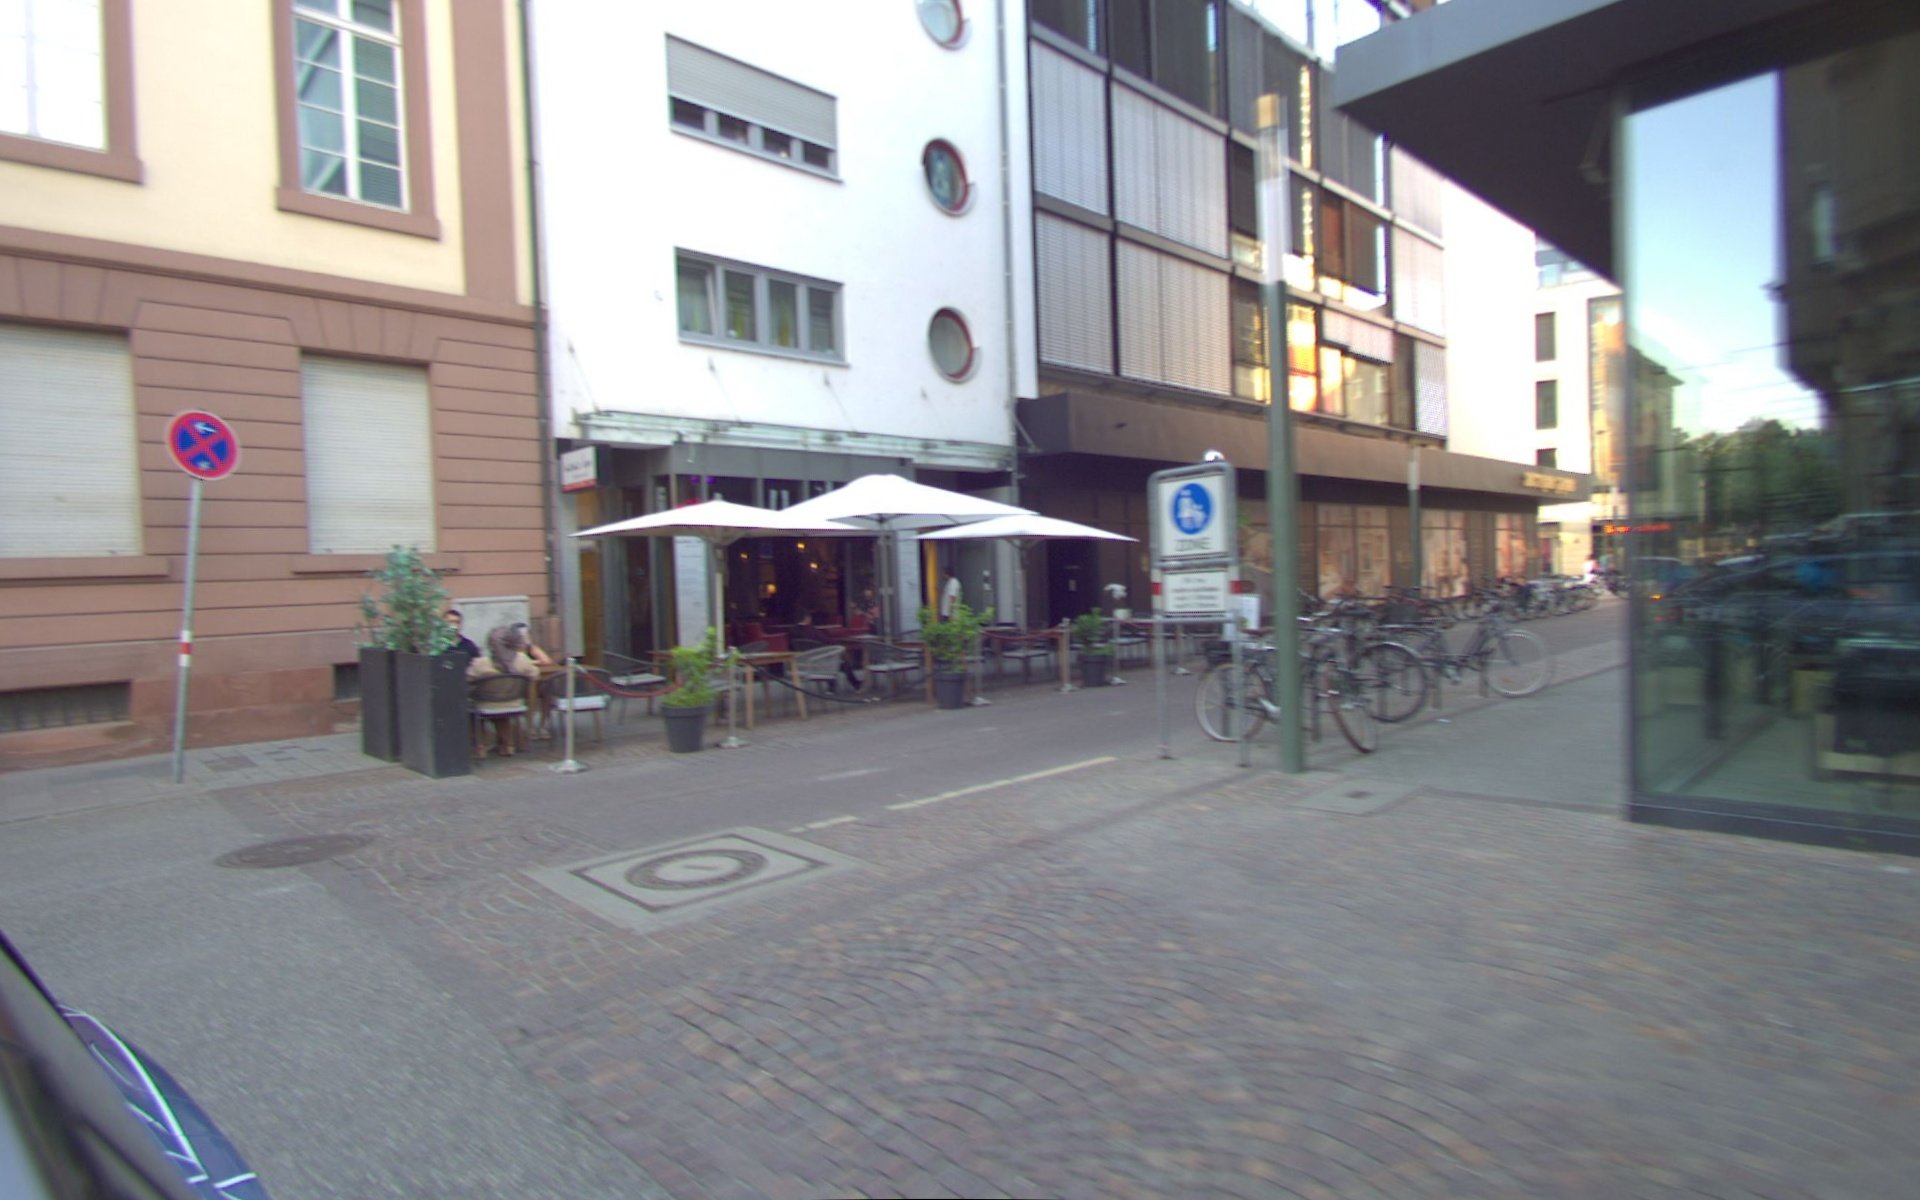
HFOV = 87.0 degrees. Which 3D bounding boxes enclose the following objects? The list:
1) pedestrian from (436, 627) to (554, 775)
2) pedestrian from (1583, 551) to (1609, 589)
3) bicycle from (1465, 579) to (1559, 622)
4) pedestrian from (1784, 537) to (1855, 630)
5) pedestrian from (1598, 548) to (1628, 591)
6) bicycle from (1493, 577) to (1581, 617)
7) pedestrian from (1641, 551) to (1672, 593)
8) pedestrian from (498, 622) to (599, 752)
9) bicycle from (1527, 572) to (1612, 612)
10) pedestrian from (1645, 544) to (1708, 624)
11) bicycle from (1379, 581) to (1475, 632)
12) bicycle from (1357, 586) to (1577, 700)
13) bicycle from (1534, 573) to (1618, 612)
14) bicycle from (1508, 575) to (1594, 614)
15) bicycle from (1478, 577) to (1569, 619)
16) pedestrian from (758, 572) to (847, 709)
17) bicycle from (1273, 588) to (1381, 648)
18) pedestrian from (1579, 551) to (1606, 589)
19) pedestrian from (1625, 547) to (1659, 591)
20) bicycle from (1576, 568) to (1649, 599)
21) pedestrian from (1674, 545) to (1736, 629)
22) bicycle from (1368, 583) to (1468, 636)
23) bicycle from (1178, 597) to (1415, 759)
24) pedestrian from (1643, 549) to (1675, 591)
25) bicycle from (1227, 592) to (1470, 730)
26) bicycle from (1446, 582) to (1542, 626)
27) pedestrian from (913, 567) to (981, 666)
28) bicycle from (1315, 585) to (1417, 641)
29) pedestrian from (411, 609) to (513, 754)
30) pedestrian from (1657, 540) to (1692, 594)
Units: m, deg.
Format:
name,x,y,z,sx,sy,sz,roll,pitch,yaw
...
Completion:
name,x,y,z,sx,sy,sz,roll,pitch,yaw
pedestrian,-4.151,0.867,9.037,0.792,1.192,0.664,0,2,41
pedestrian,31.994,-1.517,50.918,0.823,1.873,0.908,-3,1,-44
bicycle,14.051,-0.005,25.810,0.460,1.024,2.056,-3,3,-44
pedestrian,15.114,-0.289,17.799,0.846,1.577,0.801,-3,1,-41
pedestrian,29.111,-1.346,45.119,0.823,1.873,0.908,-3,1,-44
bicycle,15.784,-0.101,27.739,0.460,1.057,2.056,-3,3,-44
pedestrian,28.868,-1.165,41.921,0.907,1.673,0.782,-2,1,44
pedestrian,-4.167,0.847,10.237,0.793,1.192,0.664,1,2,45
bicycle,17.720,-0.244,29.474,0.460,1.103,2.056,-3,3,-44
pedestrian,15.477,-0.340,21.857,0.916,1.673,0.903,-3,1,-42
bicycle,10.667,0.134,23.181,0.460,1.082,1.955,-3,3,-44
bicycle,5.460,0.484,11.020,0.460,1.130,2.042,-3,-1,-44
bicycle,18.239,-0.248,30.007,0.460,1.103,2.056,-3,3,-44
bicycle,16.708,-0.169,28.660,0.460,1.057,2.056,-3,3,-44
bicycle,14.954,-0.074,26.893,0.460,1.057,2.056,-3,3,-44
pedestrian,-2.010,0.501,12.909,0.792,1.661,0.716,-2,1,41
bicycle,7.090,0.326,19.634,0.460,1.082,1.955,-3,3,-44
pedestrian,31.475,-1.490,50.345,0.823,1.873,0.908,-3,1,-44
pedestrian,30.213,-1.382,44.841,0.893,1.873,1.029,-3,1,-44
bicycle,22.203,-0.566,34.472,0.460,1.020,2.056,-3,3,-44
pedestrian,14.469,-0.251,19.658,0.846,1.577,0.801,-3,1,-43
bicycle,9.984,0.188,22.123,0.460,1.082,1.955,-3,3,-44
bicycle,2.618,0.605,8.037,0.460,1.145,1.704,-3,-1,-44
pedestrian,28.452,-1.226,41.201,0.907,1.673,0.782,-2,1,44
bicycle,3.503,0.555,9.303,0.460,1.130,2.017,-3,-1,-44
bicycle,13.129,0.082,24.929,0.460,1.024,2.056,-3,3,-44
pedestrian,-0.222,0.277,17.703,0.855,1.671,0.792,-2,1,30
bicycle,8.445,0.244,21.121,0.460,1.082,1.955,-3,3,-44
pedestrian,-4.997,0.786,10.148,0.793,1.341,0.664,1,2,45
pedestrian,25.520,-1.177,36.153,0.836,1.873,0.894,-2,1,45
